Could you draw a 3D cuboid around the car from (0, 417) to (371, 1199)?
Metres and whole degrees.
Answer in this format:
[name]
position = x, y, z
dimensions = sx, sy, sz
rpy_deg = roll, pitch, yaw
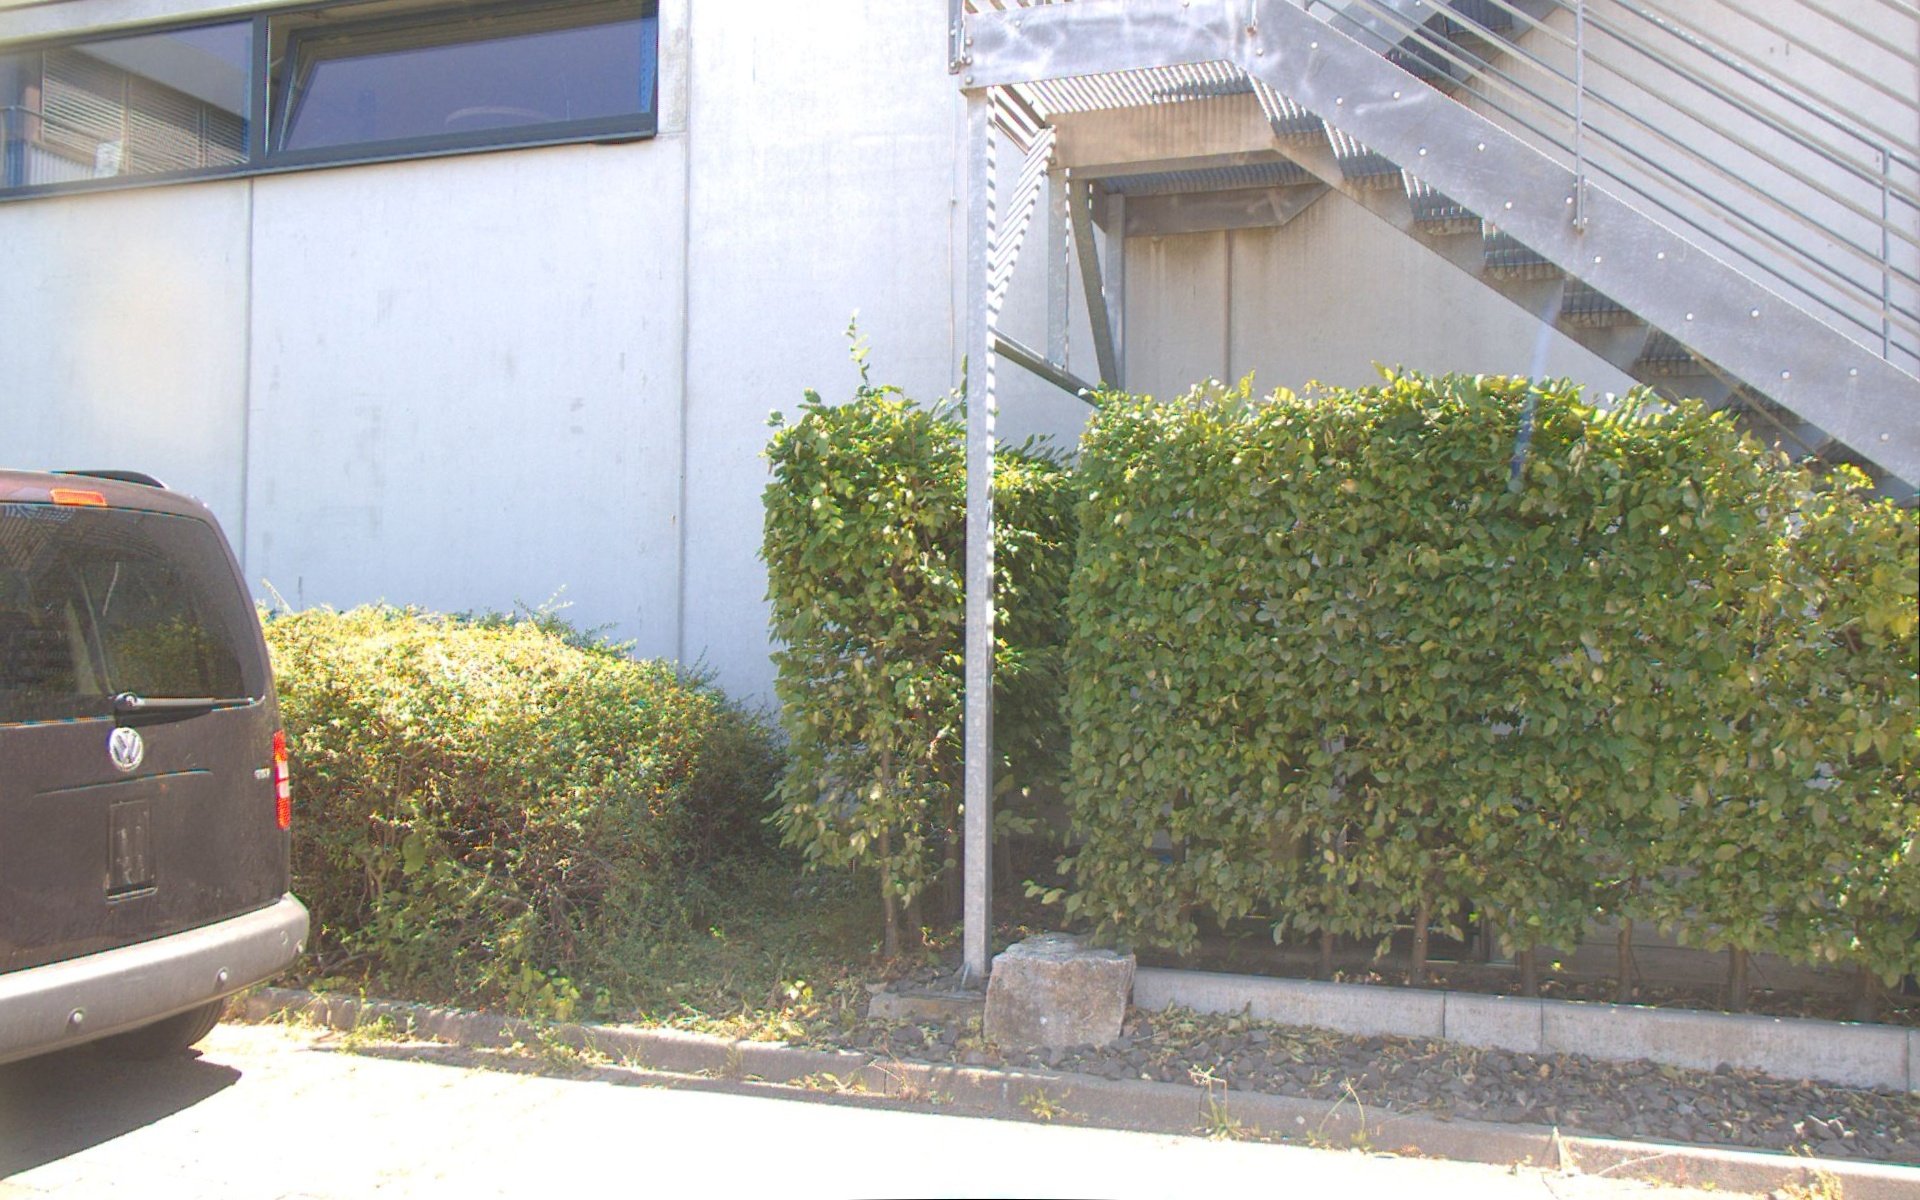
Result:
[car]
position = -4.007, 0.519, 5.081
dimensions = 3.974, 1.917, 1.679
rpy_deg = 0, 0, 20
